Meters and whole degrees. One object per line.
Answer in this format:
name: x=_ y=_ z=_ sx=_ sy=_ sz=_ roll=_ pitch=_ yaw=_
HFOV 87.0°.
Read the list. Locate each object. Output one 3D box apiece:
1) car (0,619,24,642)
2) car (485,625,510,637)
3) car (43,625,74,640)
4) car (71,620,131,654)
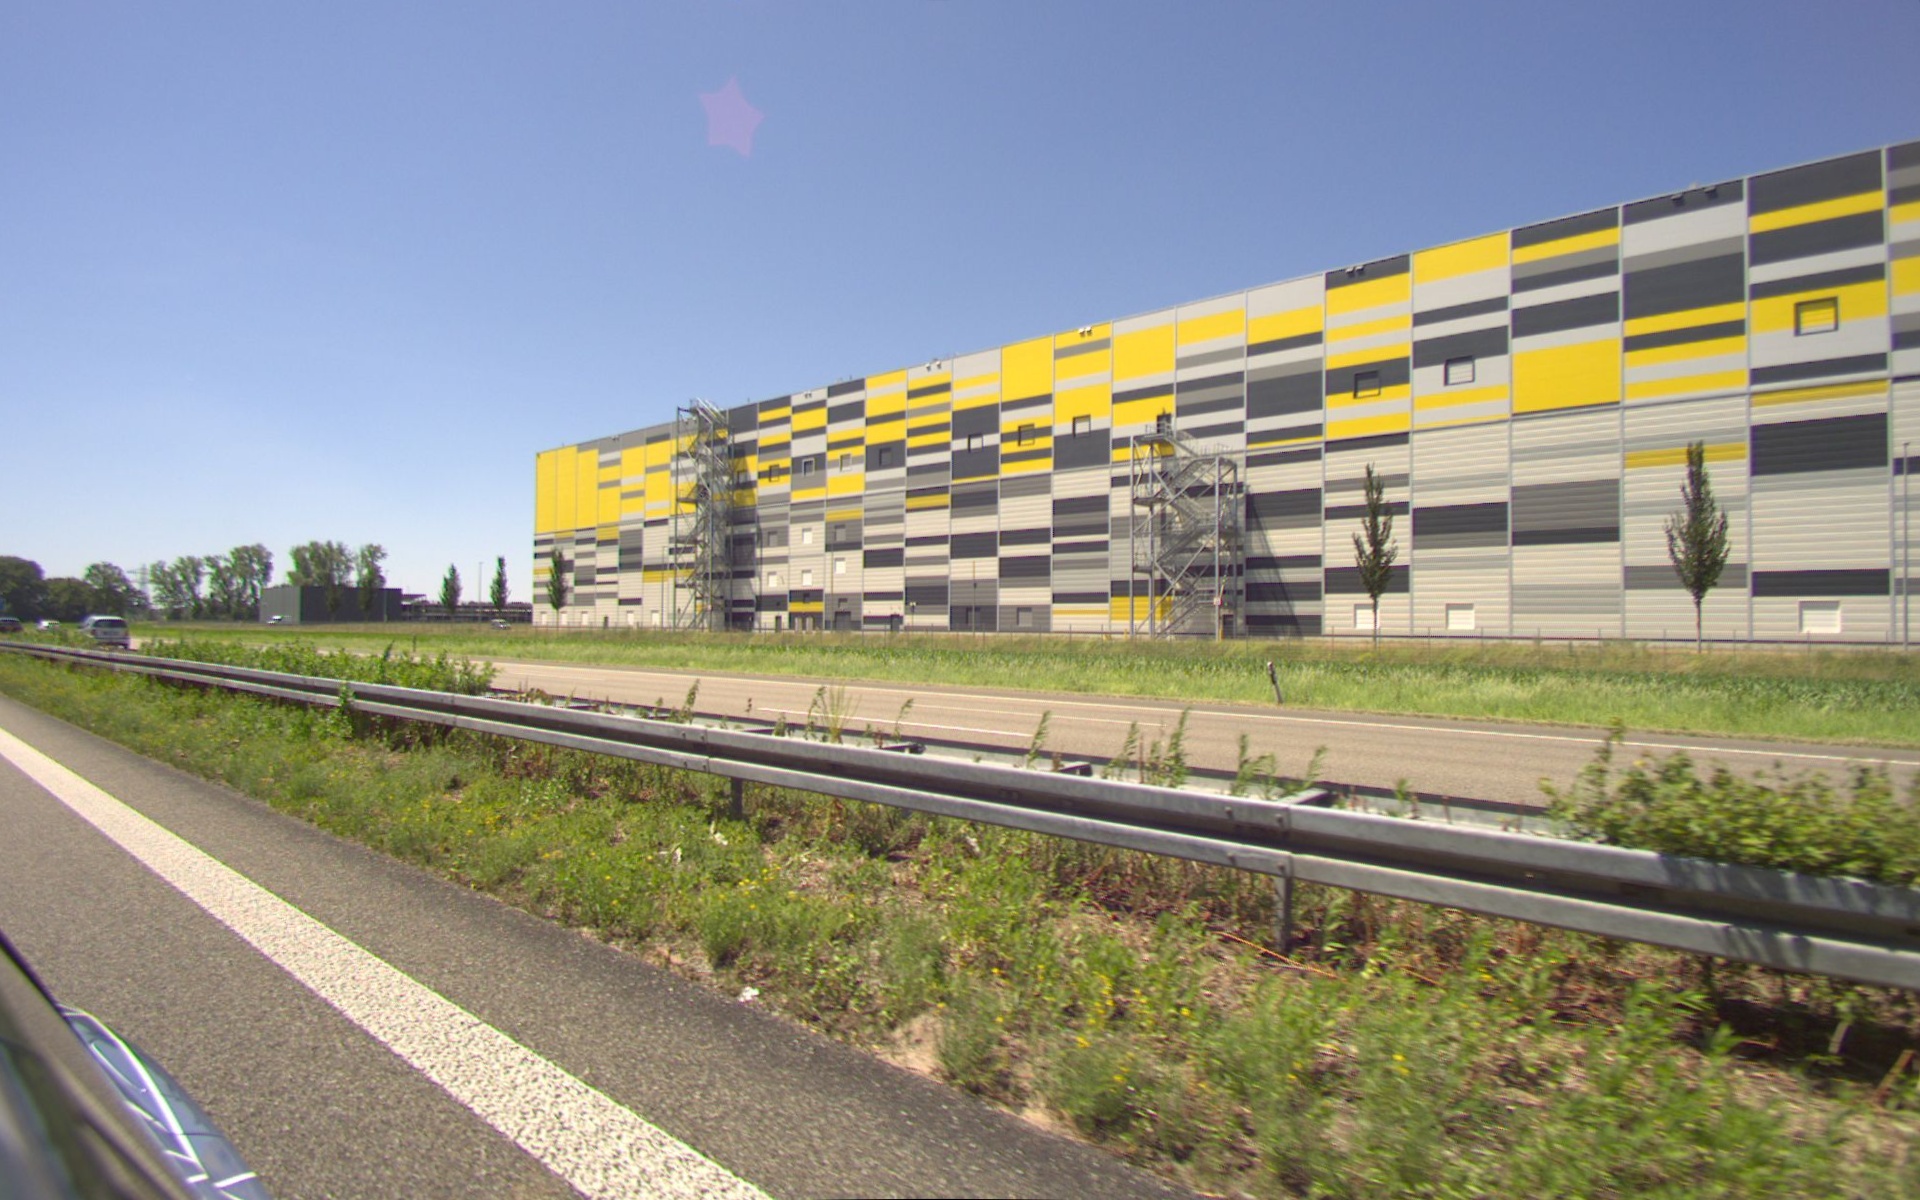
car: x=-68.988 y=2.173 z=73.012 sx=4.332 sy=1.595 sz=1.639 roll=-1 pitch=-3 yaw=41
car: x=-69.911 y=4.694 z=152.861 sx=4.266 sy=1.750 sz=1.808 roll=-1 pitch=-3 yaw=40
car: x=-94.817 y=3.369 z=106.372 sx=4.629 sy=1.544 sz=1.781 roll=-1 pitch=-2 yaw=40
car: x=-42.845 y=1.836 z=50.439 sx=4.332 sy=1.595 sz=1.639 roll=-1 pitch=-3 yaw=41
